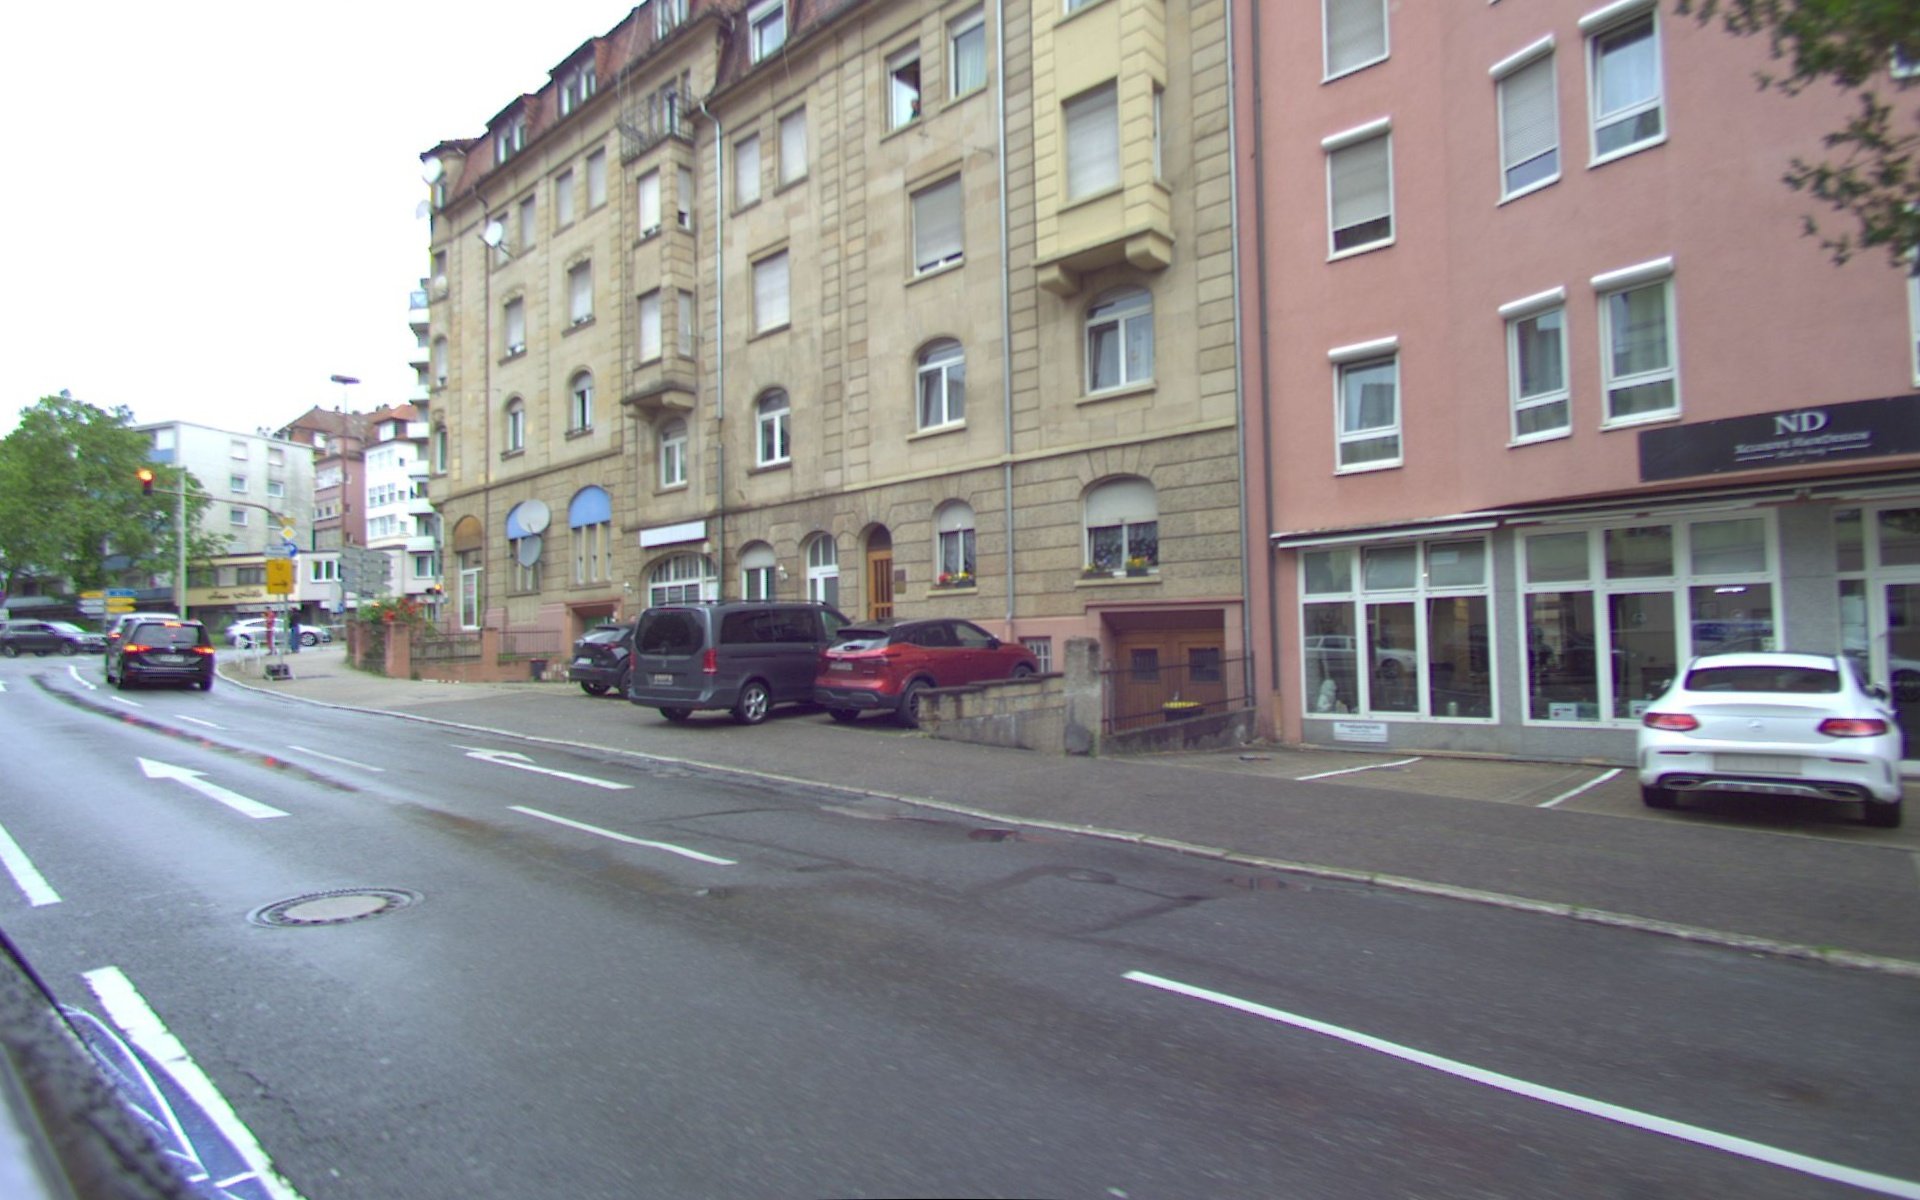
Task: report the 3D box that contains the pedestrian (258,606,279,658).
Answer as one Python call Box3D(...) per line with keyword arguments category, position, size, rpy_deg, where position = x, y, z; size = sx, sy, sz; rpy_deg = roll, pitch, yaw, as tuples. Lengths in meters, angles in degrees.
Box3D(category="pedestrian", position=(-24.559, 1.130, 35.931), size=(0.516, 1.787, 0.694), rpy_deg=(-1, -1, -42))

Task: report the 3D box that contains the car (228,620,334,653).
Box3D(category="car", position=(-33.138, 1.766, 49.491), size=(4.108, 1.494, 1.763), rpy_deg=(0, -2, -27))

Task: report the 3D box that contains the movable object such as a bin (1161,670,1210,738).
Box3D(category="movable object such as a bin", position=(3.588, 1.646, 16.111), size=(0.526, 1.004, 0.551), rpy_deg=(-1, -1, -43))

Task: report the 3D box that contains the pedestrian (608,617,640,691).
Box3D(category="pedestrian", position=(-8.301, 1.322, 25.023), size=(0.559, 1.790, 0.477), rpy_deg=(1, 0, 8))

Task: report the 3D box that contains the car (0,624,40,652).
Box3D(category="car", position=(-72.362, 2.866, 75.844), size=(1.861, 1.992, 4.957), rpy_deg=(0, 0, 12))

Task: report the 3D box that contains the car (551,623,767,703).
Box3D(category="car", position=(-6.371, 1.275, 21.734), size=(1.872, 1.522, 4.104), rpy_deg=(-2, -2, 41))

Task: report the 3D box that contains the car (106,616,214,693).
Box3D(category="car", position=(-19.249, 1.277, 24.273), size=(1.601, 1.662, 4.424), rpy_deg=(5, -5, -42))

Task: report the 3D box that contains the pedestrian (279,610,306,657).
Box3D(category="pedestrian", position=(-24.739, 1.240, 37.503), size=(0.829, 1.715, 0.629), rpy_deg=(-2, -1, 44))

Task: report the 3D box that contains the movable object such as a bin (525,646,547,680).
Box3D(category="movable object such as a bin", position=(-12.392, 1.822, 29.563), size=(0.469, 0.957, 0.418), rpy_deg=(0, -1, -44))

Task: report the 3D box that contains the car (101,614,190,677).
Box3D(category="car", position=(-24.487, 1.286, 30.386), size=(1.940, 1.706, 4.815), rpy_deg=(1, 0, -40))

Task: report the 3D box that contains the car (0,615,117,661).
Box3D(category="car", position=(-42.286, 1.741, 47.141), size=(4.445, 2.029, 1.917), rpy_deg=(-1, 0, -1))

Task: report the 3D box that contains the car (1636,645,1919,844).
Box3D(category="car", position=(7.768, 1.159, 9.550), size=(1.767, 1.412, 4.500), rpy_deg=(-1, -3, 41))

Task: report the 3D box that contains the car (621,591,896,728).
Box3D(category="car", position=(-3.175, 0.858, 16.962), size=(1.857, 1.953, 4.640), rpy_deg=(-2, 0, 31))

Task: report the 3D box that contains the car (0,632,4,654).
Box3D(category="car", position=(-76.607, 3.373, 78.061), size=(1.789, 1.702, 3.819), rpy_deg=(0, -1, 14))

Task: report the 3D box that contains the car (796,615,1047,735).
Box3D(category="car", position=(-0.523, 1.105, 16.635), size=(1.896, 1.602, 4.055), rpy_deg=(-1, 0, 40))
